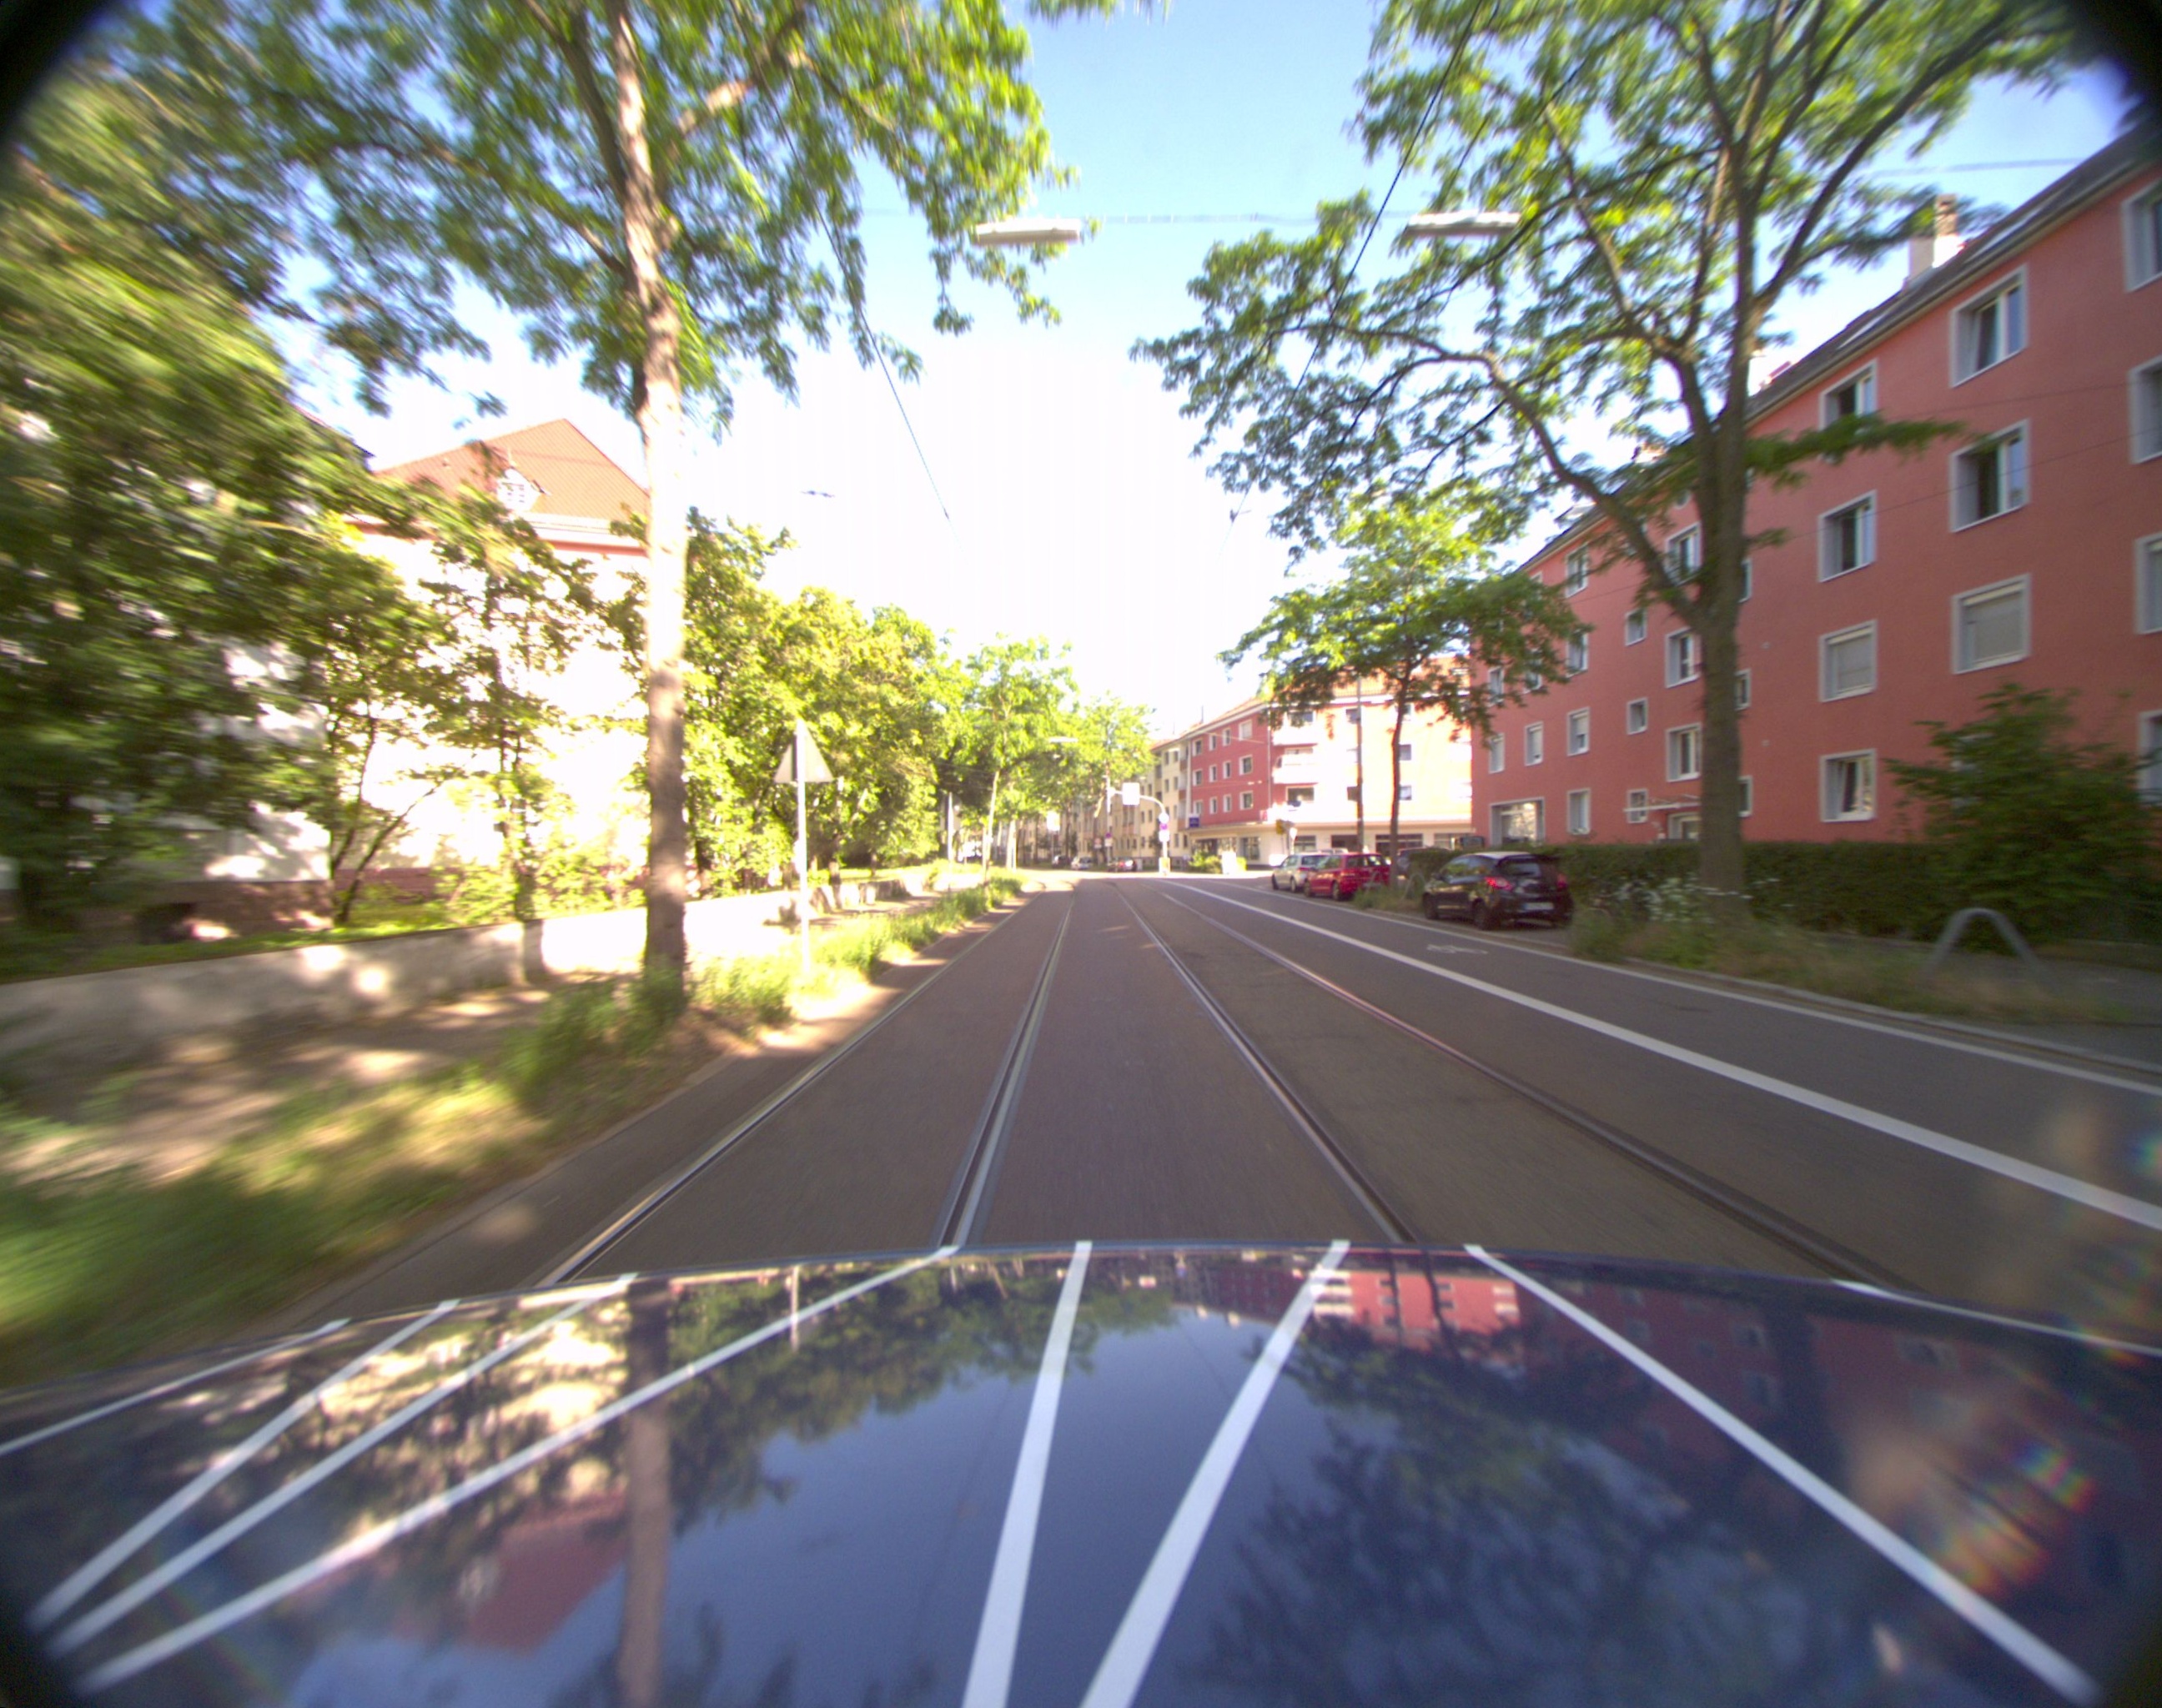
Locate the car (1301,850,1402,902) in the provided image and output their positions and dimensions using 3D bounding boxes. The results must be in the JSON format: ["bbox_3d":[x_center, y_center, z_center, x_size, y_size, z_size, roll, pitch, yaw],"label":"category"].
[{"bbox_3d":[8.437,0.629,24.067,1.577,1.446,4.095,-2,0,-2],"label":"car"}]

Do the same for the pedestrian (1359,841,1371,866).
[{"bbox_3d":[19.773,-0.023,52.872,0.803,1.755,0.509,0,1,20],"label":"pedestrian"}]

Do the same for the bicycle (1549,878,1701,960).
[{"bbox_3d":[7.978,0.947,11.178,1.816,1.114,0.543,-1,1,1],"label":"bicycle"}]

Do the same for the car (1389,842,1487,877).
[{"bbox_3d":[18.351,0.274,39.259,4.481,1.769,1.791,0,1,21],"label":"car"}]

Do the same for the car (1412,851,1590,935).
[{"bbox_3d":[8.261,0.686,15.330,1.558,1.446,3.667,-2,0,1],"label":"car"}]

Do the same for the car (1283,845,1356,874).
[{"bbox_3d":[14.964,0.332,47.714,4.280,1.769,1.791,0,1,17],"label":"car"}]

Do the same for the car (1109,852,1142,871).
[{"bbox_3d":[3.762,0.629,65.114,1.880,1.390,3.996,-4,0,-10],"label":"car"}]

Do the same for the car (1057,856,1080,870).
[{"bbox_3d":[-1.382,0.994,85.258,1.880,1.390,3.996,-4,0,-10],"label":"car"}]

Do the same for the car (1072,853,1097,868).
[{"bbox_3d":[0.331,0.692,78.259,1.880,1.390,3.996,-4,0,-10],"label":"car"}]

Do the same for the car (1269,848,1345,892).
[{"bbox_3d":[8.583,0.558,29.228,1.577,1.497,4.095,-2,0,-1],"label":"car"}]

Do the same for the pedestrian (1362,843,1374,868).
[{"bbox_3d":[19.573,0.103,51.856,0.803,1.755,0.509,0,1,20],"label":"pedestrian"}]
